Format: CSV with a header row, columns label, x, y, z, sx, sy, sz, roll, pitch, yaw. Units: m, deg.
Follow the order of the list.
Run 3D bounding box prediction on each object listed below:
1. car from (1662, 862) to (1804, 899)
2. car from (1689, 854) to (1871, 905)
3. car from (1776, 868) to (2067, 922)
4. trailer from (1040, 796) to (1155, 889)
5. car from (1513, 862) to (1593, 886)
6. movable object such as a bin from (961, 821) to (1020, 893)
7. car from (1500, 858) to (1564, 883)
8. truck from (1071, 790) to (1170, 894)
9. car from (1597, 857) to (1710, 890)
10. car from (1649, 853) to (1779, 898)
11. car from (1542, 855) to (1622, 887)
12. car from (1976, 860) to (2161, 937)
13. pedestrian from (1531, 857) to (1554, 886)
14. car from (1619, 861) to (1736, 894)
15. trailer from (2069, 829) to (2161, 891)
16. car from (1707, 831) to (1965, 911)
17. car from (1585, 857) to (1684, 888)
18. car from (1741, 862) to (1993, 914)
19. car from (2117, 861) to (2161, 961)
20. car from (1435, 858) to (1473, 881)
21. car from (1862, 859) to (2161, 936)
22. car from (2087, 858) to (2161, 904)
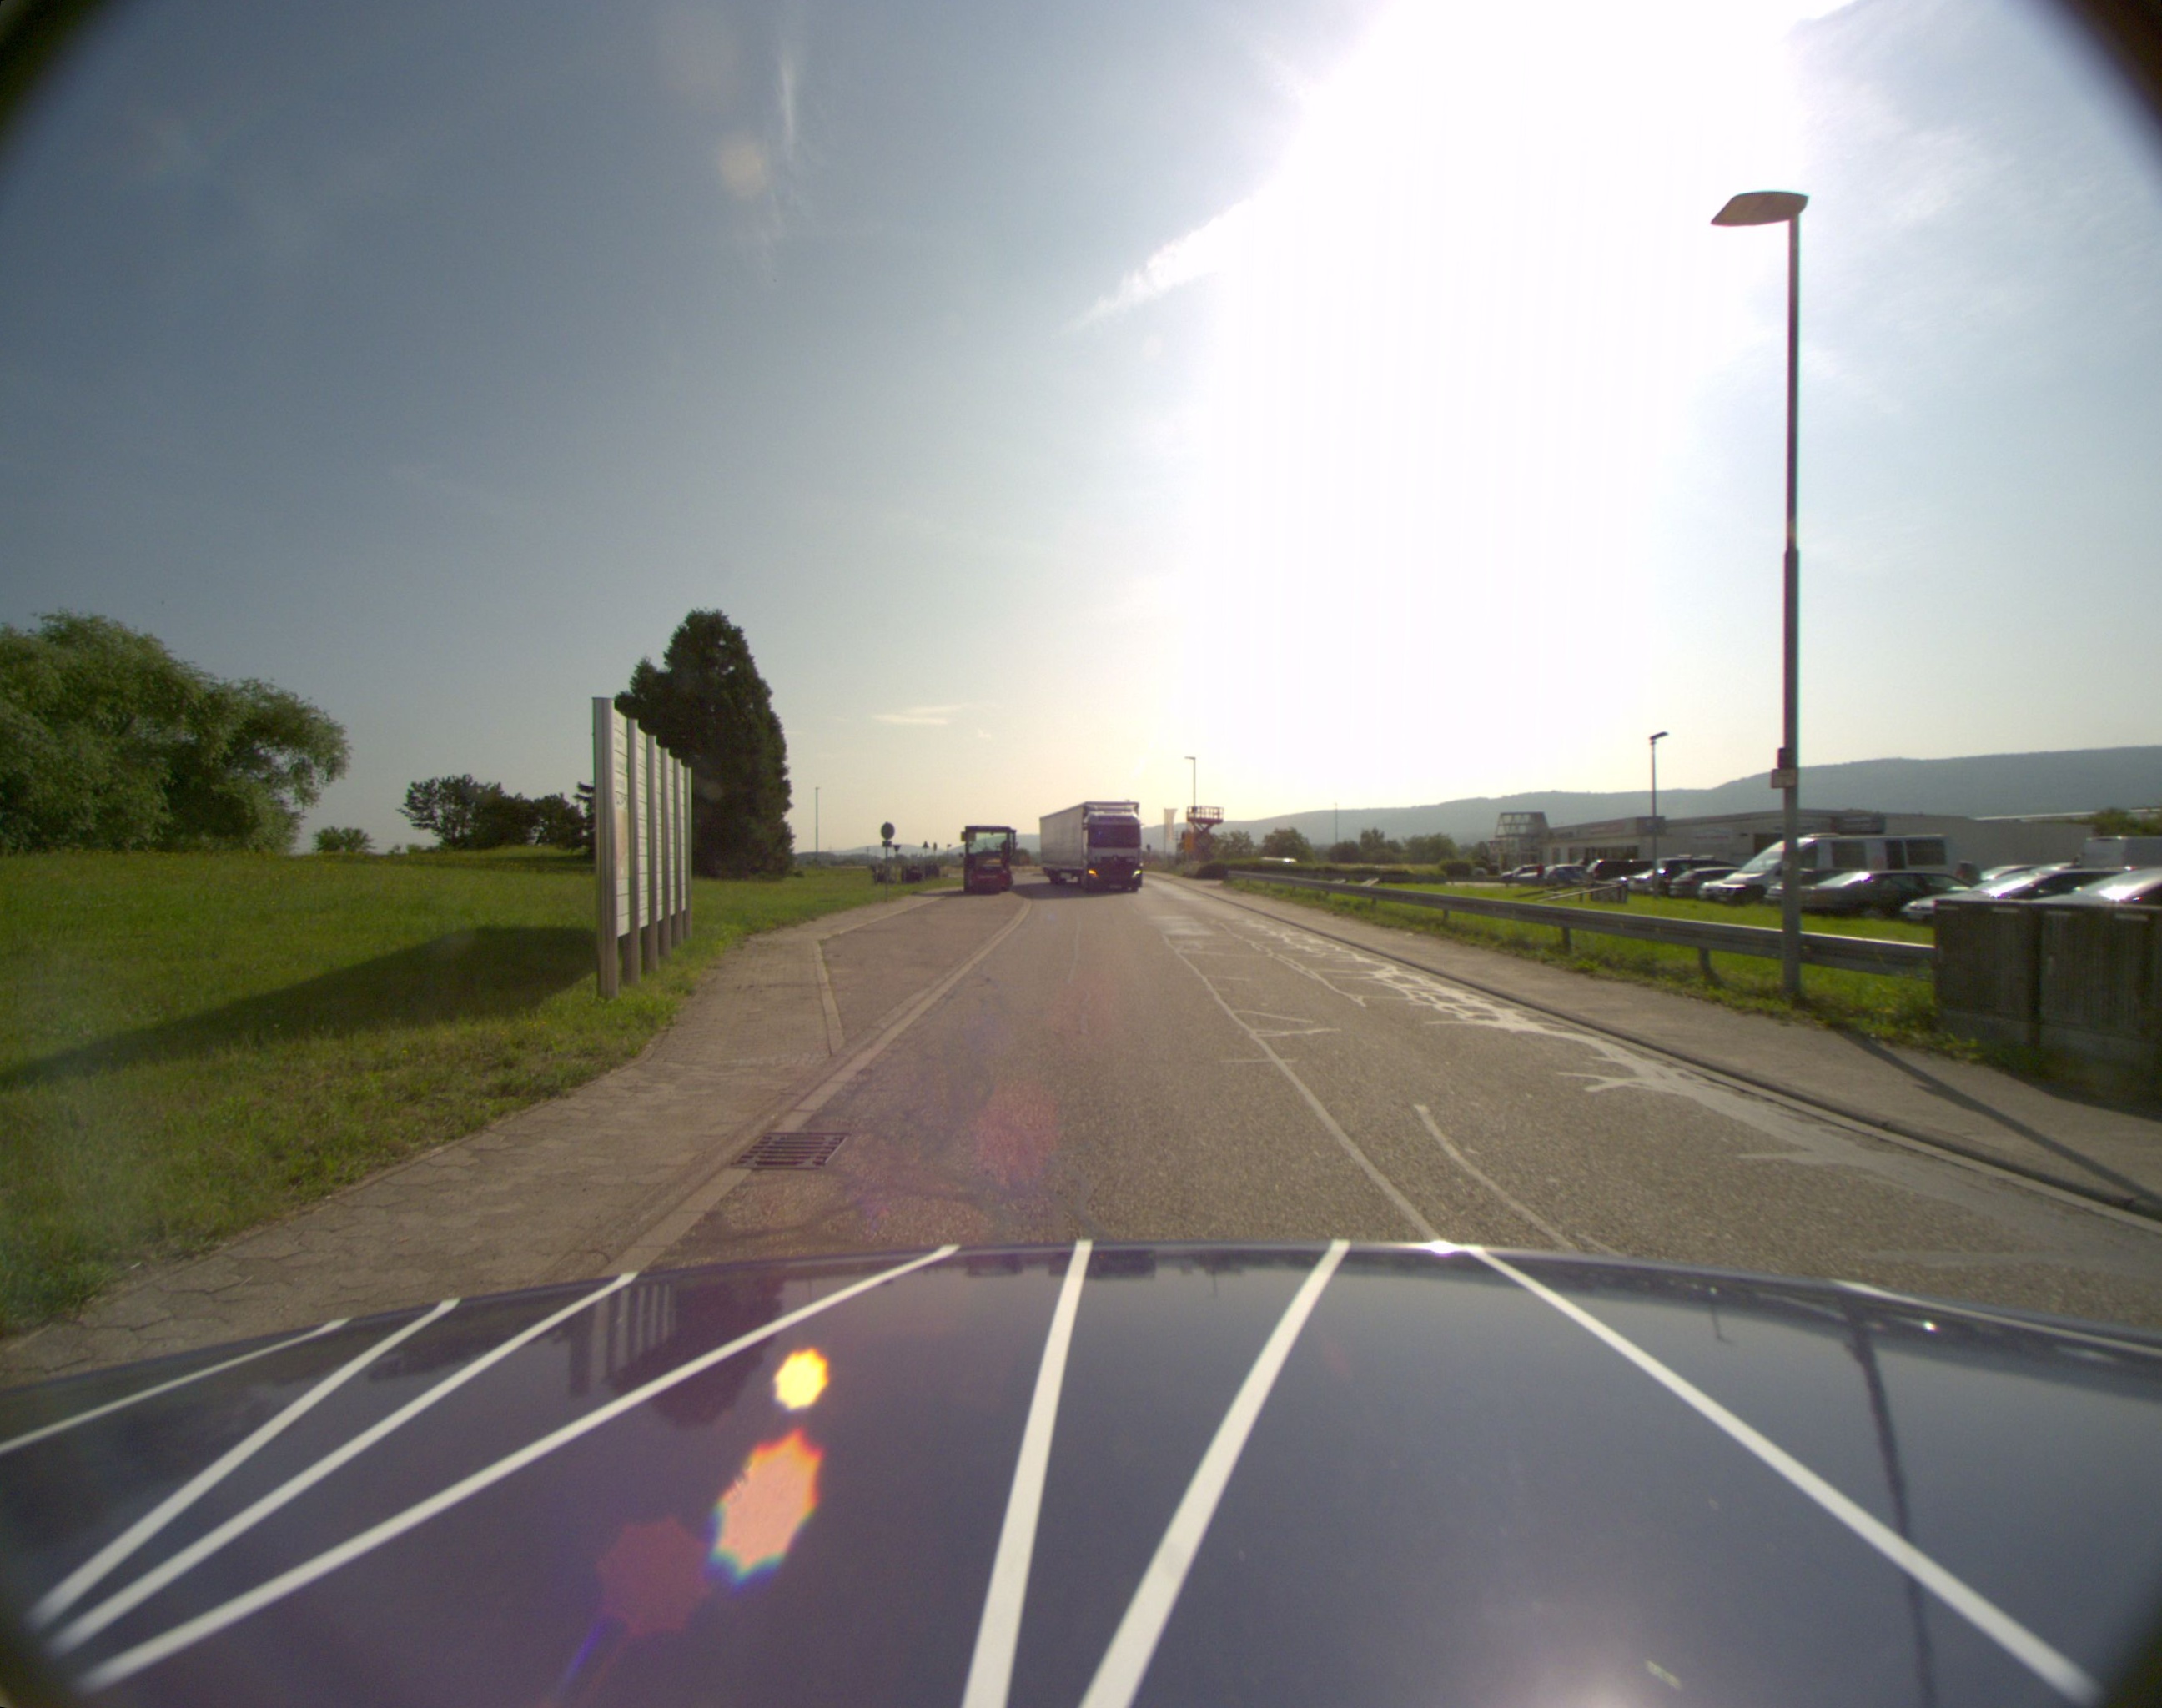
label,x,y,z,sx,sy,sz,roll,pitch,yaw
car,25.034,0.979,29.332,3.750,1.301,1.809,1,0,15
car,24.621,0.884,26.956,4.393,1.653,1.810,0,-1,20
car,21.235,1.001,19.483,4.686,1.212,1.834,0,-1,20
trailer,0.437,-0.552,42.326,3.500,4.183,14.220,-3,1,-10
car,31.612,1.309,51.019,4.149,1.526,1.885,1,0,13
movable object such as a bin,-4.090,0.154,34.801,2.435,2.994,5.750,1,0,-6
car,34.985,1.256,59.047,4.087,1.861,1.820,1,0,24
truck,1.612,-0.529,34.692,3.397,4.183,6.095,-3,1,-6
car,27.463,0.905,36.562,3.993,1.512,1.686,1,0,12
car,26.120,0.867,31.480,3.750,1.741,1.751,1,0,15
car,31.662,1.087,48.156,3.767,1.785,1.935,-2,1,13
car,19.932,0.805,13.529,4.956,1.309,1.782,0,-1,20
pedestrian,29.307,1.109,48.258,0.839,1.744,0.993,-3,1,3
car,26.768,1.039,34.204,3.750,1.381,1.731,1,0,15
trailer,39.319,0.234,26.398,5.753,2.112,2.220,1,0,22
car,23.856,0.501,24.343,5.394,2.358,2.298,0,-1,20
car,28.210,0.908,38.832,3.681,1.512,1.686,1,0,12
car,22.634,0.938,22.160,4.755,1.346,1.925,0,-1,20
car,18.924,0.886,10.485,5.132,1.525,2.181,0,-1,20
car,34.479,1.413,70.352,1.997,2.002,4.160,1,0,9
car,21.167,0.927,16.761,5.132,1.525,2.029,0,-1,20
car,35.665,0.864,24.428,3.659,1.455,1.766,1,0,15
